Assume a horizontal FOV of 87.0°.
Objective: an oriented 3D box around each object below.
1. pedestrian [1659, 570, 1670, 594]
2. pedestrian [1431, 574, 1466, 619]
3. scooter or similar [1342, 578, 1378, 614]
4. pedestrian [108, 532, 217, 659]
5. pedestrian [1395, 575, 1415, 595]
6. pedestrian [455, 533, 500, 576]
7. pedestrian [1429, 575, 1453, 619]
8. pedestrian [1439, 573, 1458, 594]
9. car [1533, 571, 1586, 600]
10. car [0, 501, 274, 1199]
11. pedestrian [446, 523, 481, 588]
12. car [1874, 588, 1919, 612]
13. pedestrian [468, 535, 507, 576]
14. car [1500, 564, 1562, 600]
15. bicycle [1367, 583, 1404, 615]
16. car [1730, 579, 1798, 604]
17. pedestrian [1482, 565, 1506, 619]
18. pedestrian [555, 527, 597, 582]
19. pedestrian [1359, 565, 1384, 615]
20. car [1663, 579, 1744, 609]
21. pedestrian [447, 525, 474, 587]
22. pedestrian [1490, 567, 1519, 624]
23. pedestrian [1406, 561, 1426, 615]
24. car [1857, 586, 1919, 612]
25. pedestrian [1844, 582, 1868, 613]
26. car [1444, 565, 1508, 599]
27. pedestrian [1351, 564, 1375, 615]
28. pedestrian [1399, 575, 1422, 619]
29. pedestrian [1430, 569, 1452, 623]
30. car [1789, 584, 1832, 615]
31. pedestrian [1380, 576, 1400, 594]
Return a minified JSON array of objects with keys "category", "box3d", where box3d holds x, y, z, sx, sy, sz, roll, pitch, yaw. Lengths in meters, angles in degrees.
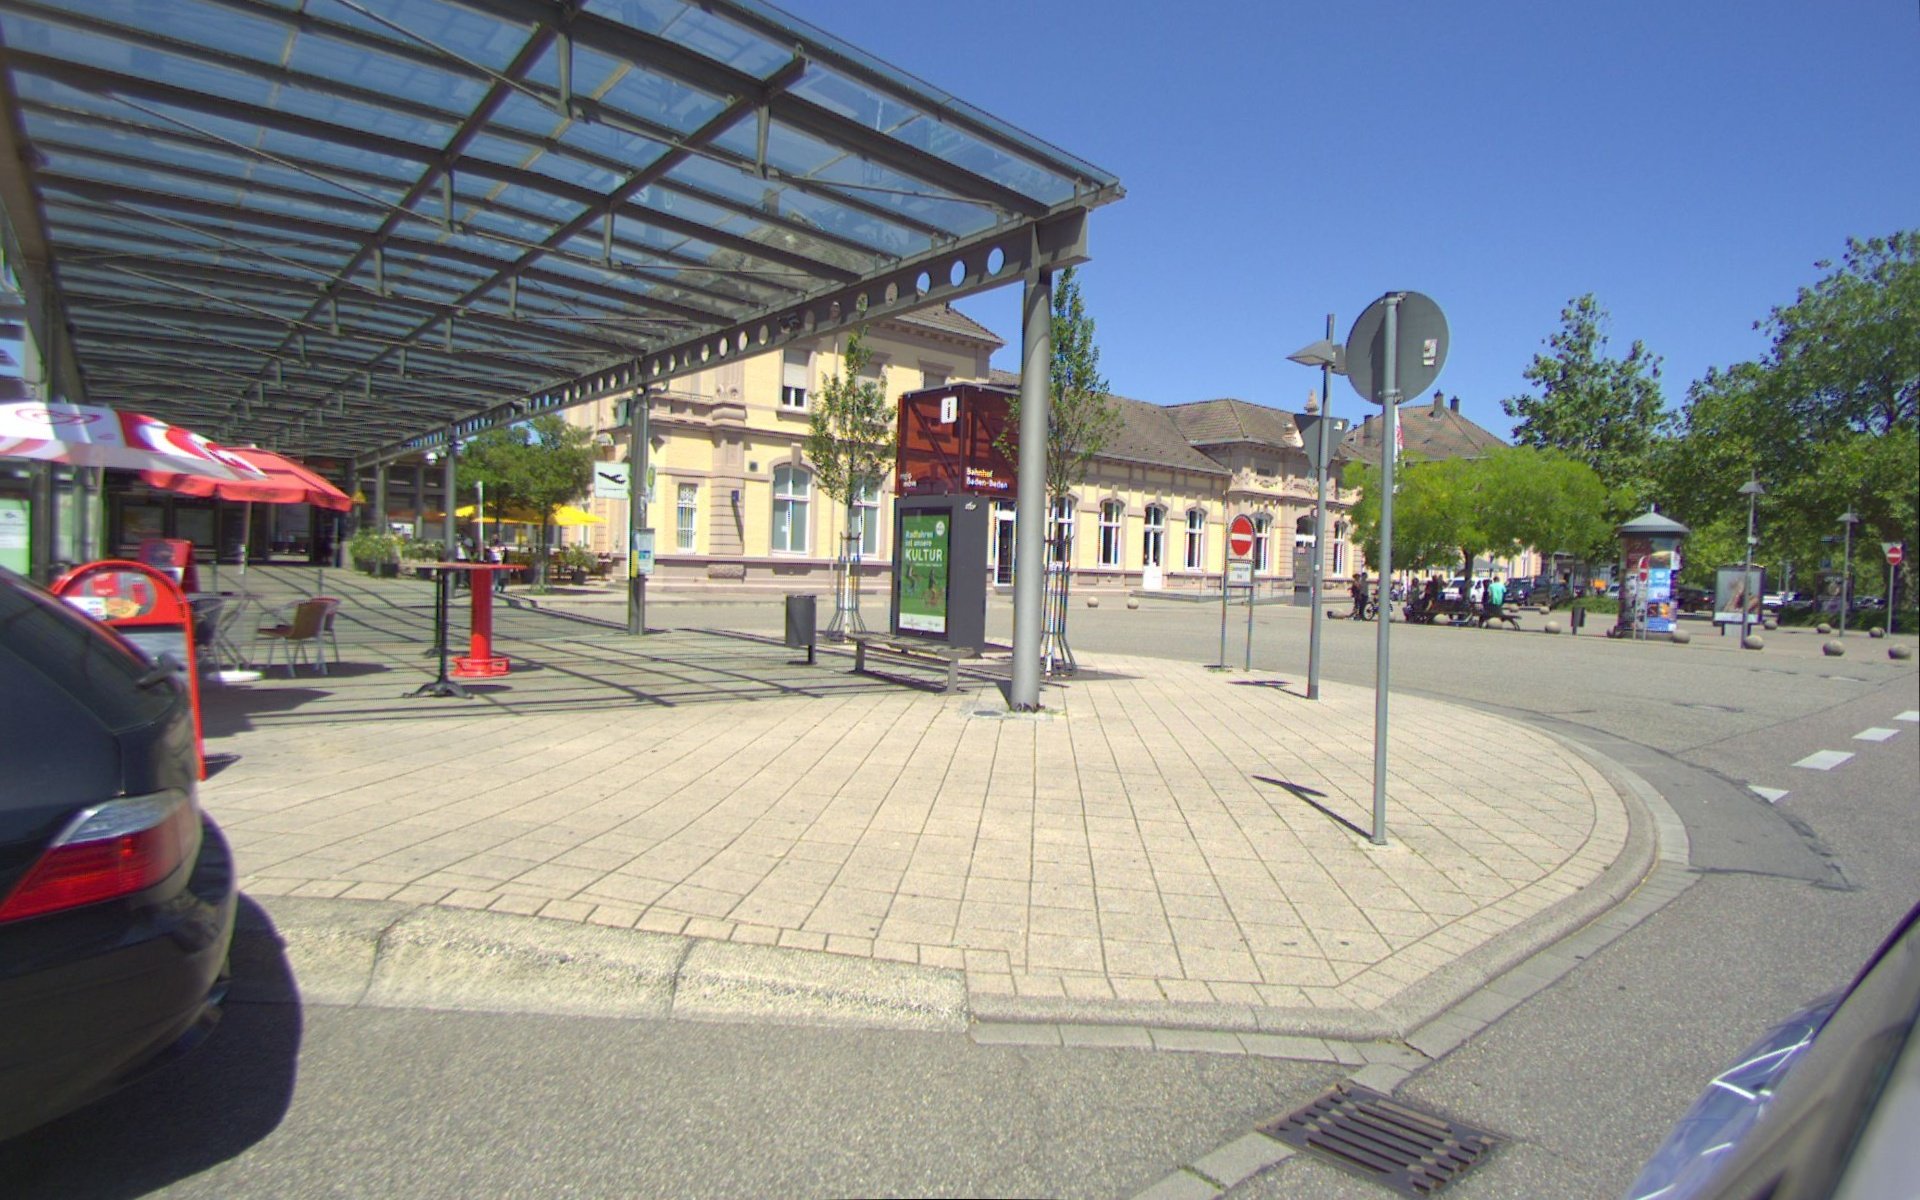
[{"category":"pedestrian","box3d":[60.171,-1.531,86.456,0.627,2.015,0.607,1,0,45]},{"category":"pedestrian","box3d":[16.004,-0.124,33.170,0.902,1.403,0.938,2,2,20]},{"category":"scooter or similar","box3d":[13.241,-0.134,33.520,1.025,1.153,0.290,3,3,43]},{"category":"pedestrian","box3d":[-8.589,-0.065,10.937,0.878,1.293,0.848,0,2,-36]},{"category":"pedestrian","box3d":[28.249,-0.956,64.256,0.838,1.176,0.880,0,4,-44]},{"category":"pedestrian","box3d":[-16.151,-1.527,33.890,1.043,1.369,0.968,5,5,29]},{"category":"pedestrian","box3d":[15.300,-0.097,32.186,0.592,1.381,0.595,3,1,22]},{"category":"pedestrian","box3d":[34.283,-1.145,70.977,0.838,1.388,0.880,0,4,-44]},{"category":"car","box3d":[42.225,-1.012,71.258,2.075,1.863,4.762,2,1,44]},{"category":"car","box3d":[-3.839,0.521,1.360,4.643,1.477,1.932,0,5,-41]},{"category":"pedestrian","box3d":[-14.147,-1.261,28.835,0.589,1.831,0.627,2,2,21]},{"category":"car","box3d":[63.320,0.049,66.916,3.832,1.478,1.625,3,2,22]},{"category":"pedestrian","box3d":[-16.498,-1.572,35.327,1.033,1.369,0.977,-1,6,-38]},{"category":"car","box3d":[37.511,-1.165,66.411,2.088,2.151,5.732,2,1,44]},{"category":"bicycle","box3d":[15.222,-0.047,36.204,1.915,1.073,0.421,-1,3,-43]},{"category":"car","box3d":[57.879,-0.640,72.933,1.769,1.624,4.061,1,3,4]},{"category":"pedestrian","box3d":[17.811,-0.270,33.774,0.621,1.761,0.543,2,2,25]},{"category":"pedestrian","box3d":[-13.474,-1.581,35.511,1.064,1.869,1.081,0,2,-42]},{"category":"pedestrian","box3d":[14.209,-0.347,34.921,0.616,1.706,0.583,3,2,38]},{"category":"car","box3d":[45.626,-0.395,62.207,1.768,1.561,4.529,0,3,3]},{"category":"pedestrian","box3d":[-15.100,-1.333,30.599,0.618,1.831,0.692,1,2,-18]},{"category":"pedestrian","box3d":[17.673,-0.156,32.874,0.690,1.785,0.577,3,2,37]},{"category":"pedestrian","box3d":[15.291,-0.404,33.976,0.506,1.761,0.567,2,2,21]},{"category":"car","box3d":[56.161,-0.026,59.520,4.741,1.434,1.767,3,2,31]},{"category":"pedestrian","box3d":[53.298,-0.172,60.192,0.832,1.792,0.843,3,2,30]},{"category":"car","box3d":[31.632,-1.081,61.982,5.051,1.889,1.812,1,1,-43]},{"category":"pedestrian","box3d":[13.742,-0.377,34.494,0.552,1.706,0.579,3,2,38]},{"category":"pedestrian","box3d":[14.499,-0.100,32.597,0.592,1.381,0.595,3,1,22]},{"category":"pedestrian","box3d":[16.251,-0.143,34.216,0.579,1.761,0.595,2,2,25]},{"category":"car","box3d":[47.231,-0.047,56.172,1.597,1.613,3.057,3,3,44]},{"category":"pedestrian","box3d":[27.610,-0.980,64.946,0.838,1.092,0.880,0,4,-44]}]
